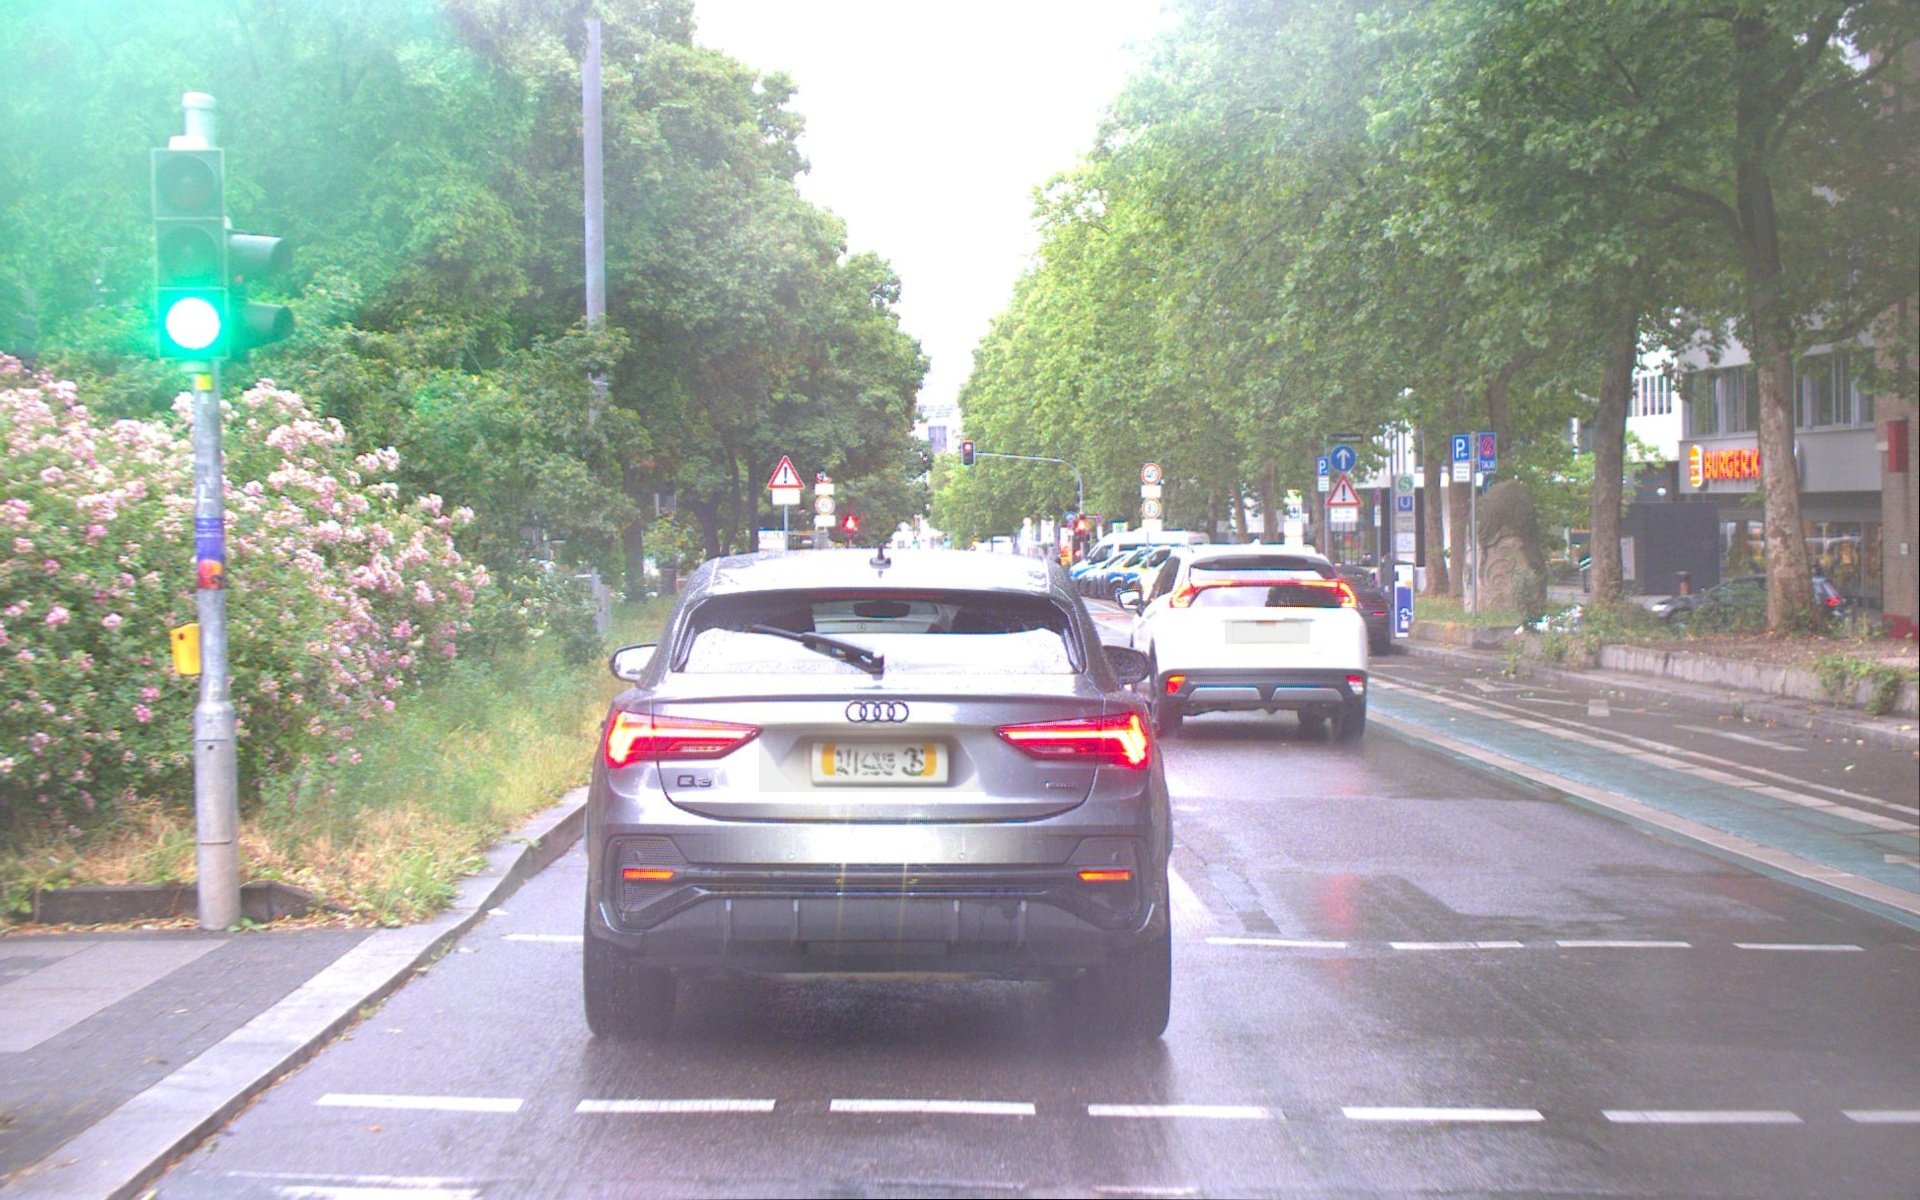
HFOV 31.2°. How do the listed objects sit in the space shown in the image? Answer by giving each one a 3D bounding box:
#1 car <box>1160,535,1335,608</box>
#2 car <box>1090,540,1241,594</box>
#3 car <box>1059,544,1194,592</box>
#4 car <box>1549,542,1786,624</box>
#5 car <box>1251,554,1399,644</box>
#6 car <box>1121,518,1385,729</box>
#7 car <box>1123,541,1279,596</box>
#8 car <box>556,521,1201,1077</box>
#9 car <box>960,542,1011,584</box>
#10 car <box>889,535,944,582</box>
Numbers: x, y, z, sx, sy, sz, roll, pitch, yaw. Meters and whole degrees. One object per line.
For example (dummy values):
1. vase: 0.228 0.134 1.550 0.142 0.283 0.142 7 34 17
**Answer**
1. car: 8.183 -0.824 98.009 4.602 2.007 1.964 1 0 37
2. car: 6.929 -1.114 115.892 4.645 1.700 1.997 1 0 27
3. car: 6.281 -1.214 129.684 4.645 1.700 1.997 1 0 27
4. car: 9.801 -0.241 47.631 2.889 1.071 1.453 1 0 30
5. car: 6.058 -0.039 57.474 1.873 1.416 4.611 1 0 -1
6. car: 2.500 0.185 30.227 1.878 1.691 4.000 1 0 -1
7. car: 7.864 -1.017 112.344 4.645 1.700 1.997 1 0 27
8. car: -0.301 0.552 11.910 1.849 1.596 4.000 0 1 -2
9. car: 1.016 -1.488 140.144 1.993 1.645 4.000 1 0 -1
10. car: -1.646 -1.541 129.249 1.993 1.721 4.000 1 0 -1
